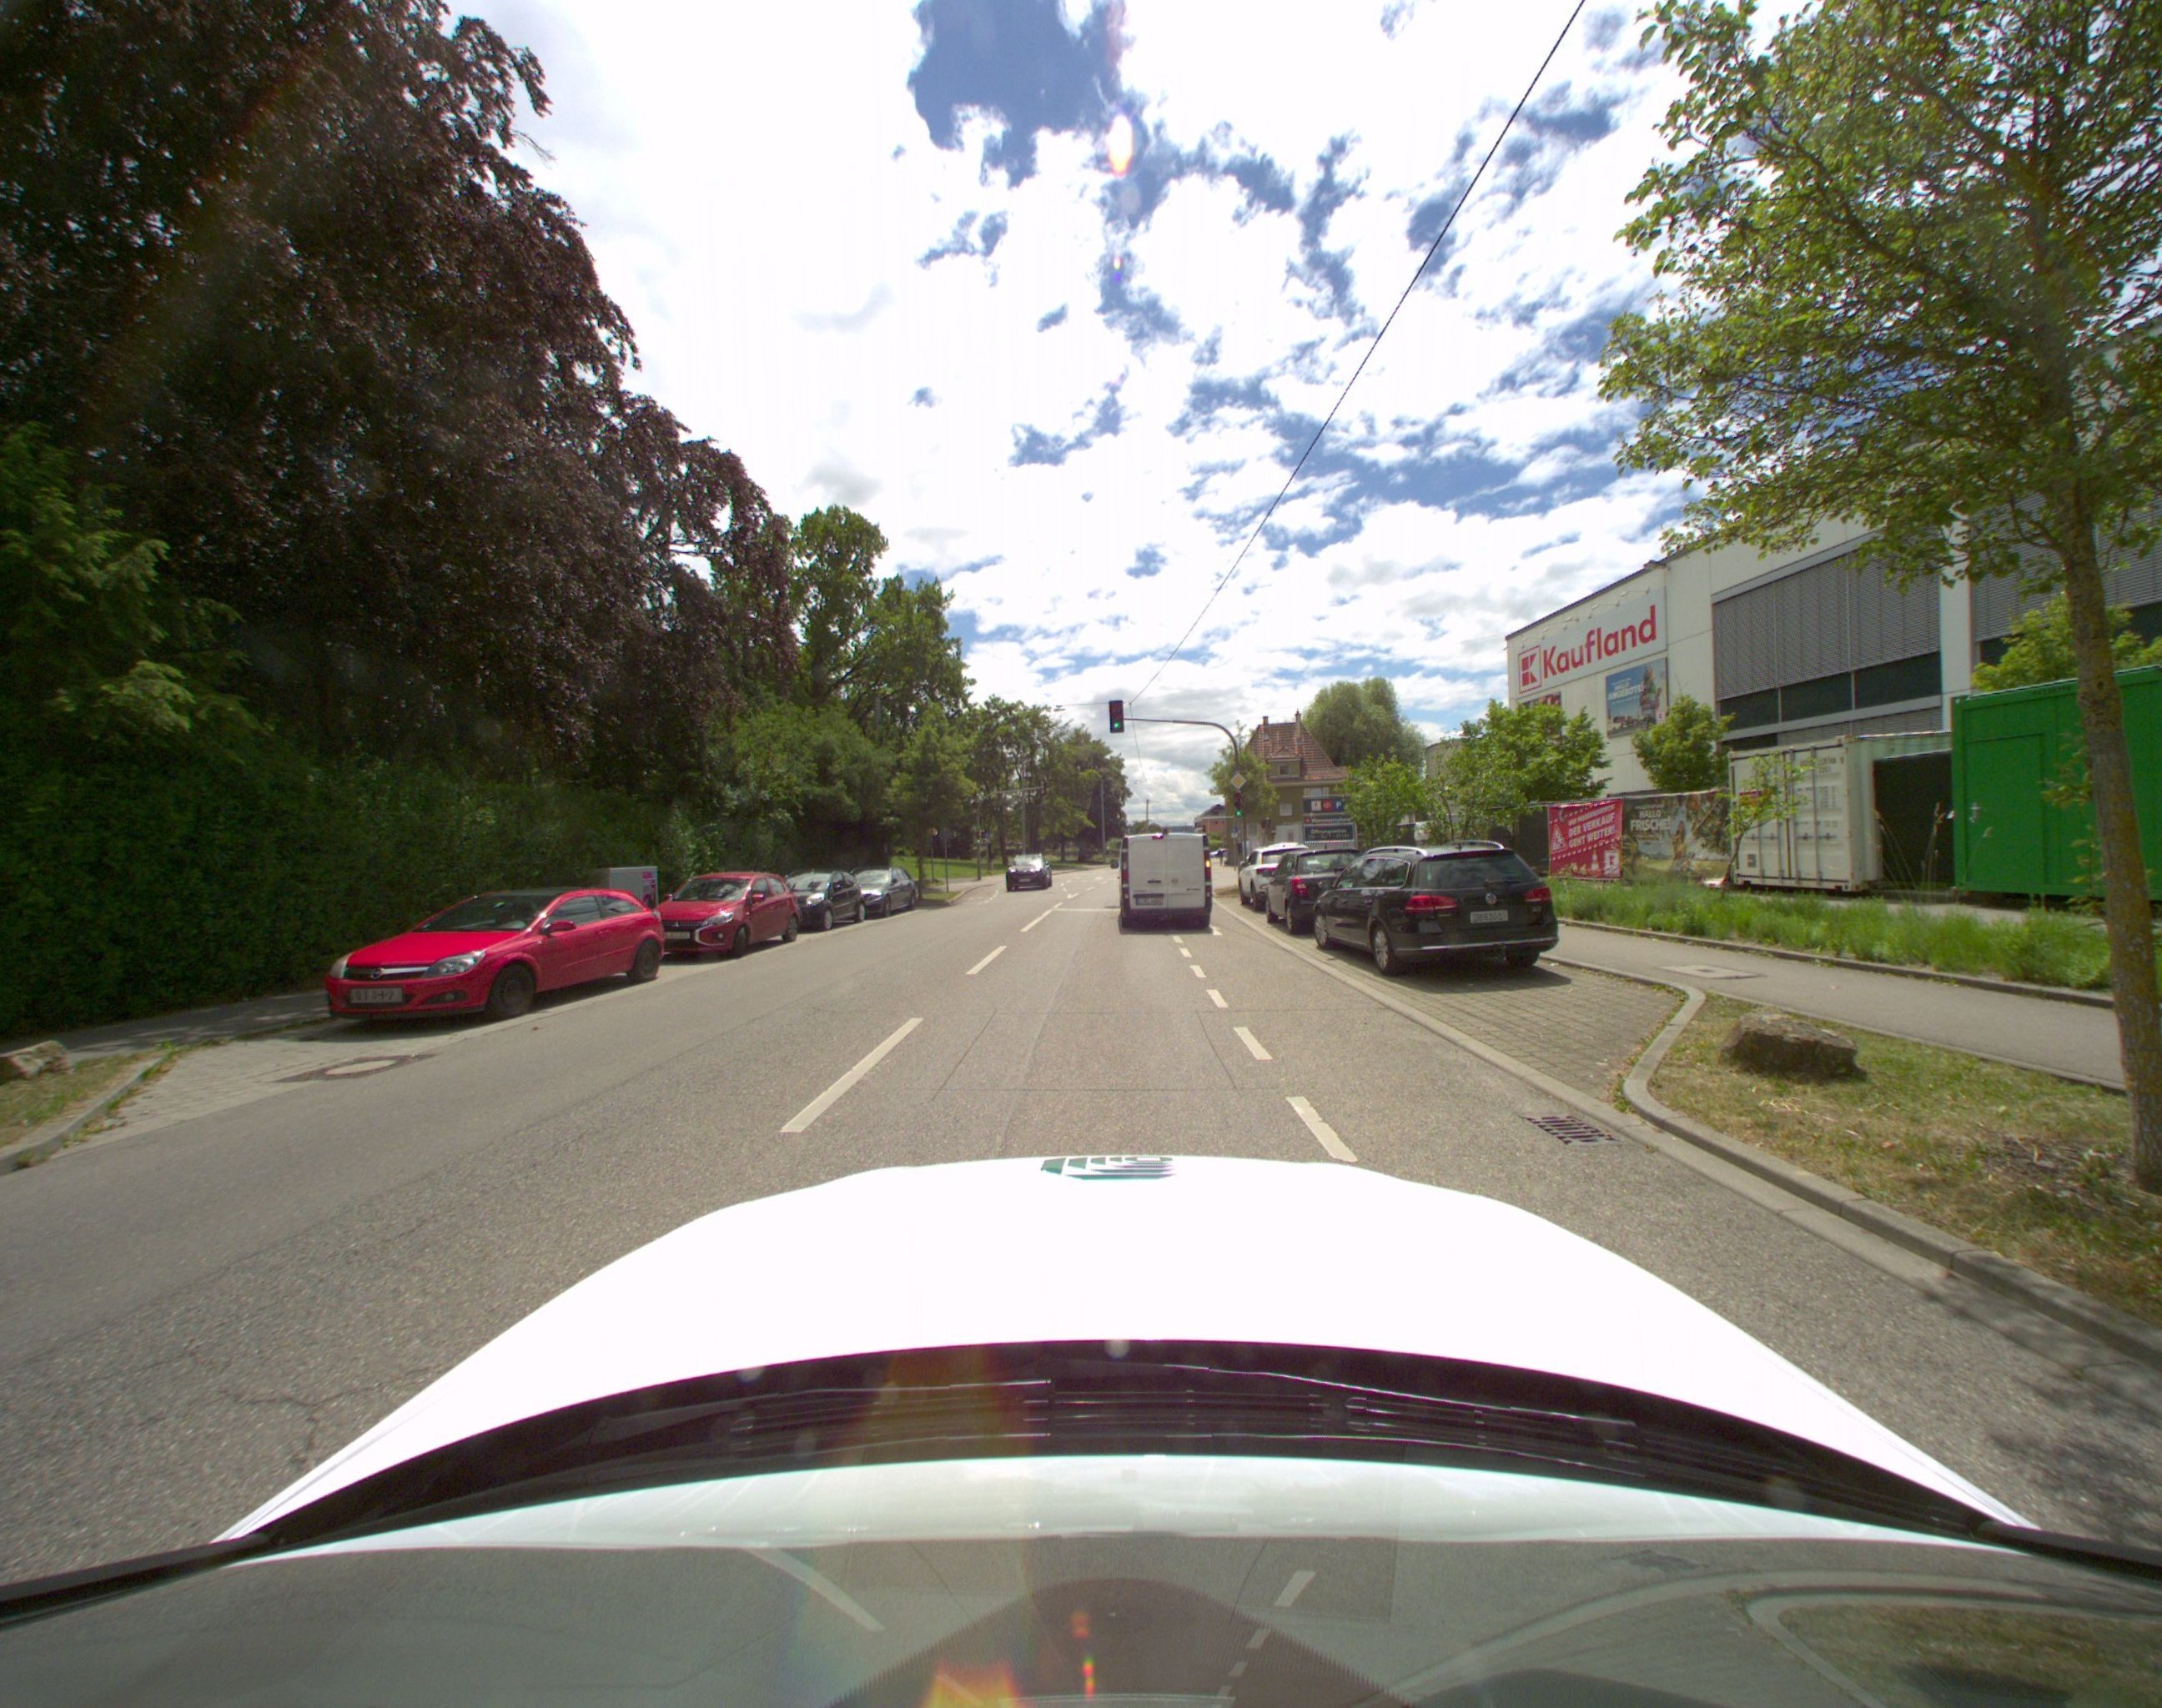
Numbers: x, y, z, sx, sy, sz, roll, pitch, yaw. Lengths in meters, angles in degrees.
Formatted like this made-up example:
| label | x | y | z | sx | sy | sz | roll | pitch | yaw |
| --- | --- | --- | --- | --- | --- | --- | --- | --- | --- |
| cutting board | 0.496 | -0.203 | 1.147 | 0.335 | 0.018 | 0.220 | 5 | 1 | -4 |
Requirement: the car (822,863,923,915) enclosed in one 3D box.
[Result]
| label | x | y | z | sx | sy | sz | roll | pitch | yaw |
| --- | --- | --- | --- | --- | --- | --- | --- | --- | --- |
| car | -6.211 | 0.996 | 24.834 | 1.688 | 1.365 | 4.689 | -1 | 0 | 3 |

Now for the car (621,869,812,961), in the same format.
| label | x | y | z | sx | sy | sz | roll | pitch | yaw |
| --- | --- | --- | --- | --- | --- | --- | --- | --- | --- |
| car | -6.774 | 1.056 | 15.666 | 1.643 | 1.450 | 4.107 | -1 | 0 | 2 |

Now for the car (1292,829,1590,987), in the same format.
| label | x | y | z | sx | sy | sz | roll | pitch | yaw |
| --- | --- | --- | --- | --- | --- | --- | --- | --- | --- |
| car | 4.352 | 0.563 | 10.867 | 1.758 | 1.477 | 4.936 | -5 | 0 | 1 |

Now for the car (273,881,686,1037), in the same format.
| label | x | y | z | sx | sy | sz | roll | pitch | yaw |
| --- | --- | --- | --- | --- | --- | --- | --- | --- | --- |
| car | -7.085 | 1.117 | 10.364 | 1.653 | 1.378 | 4.570 | -1 | 0 | 3 |

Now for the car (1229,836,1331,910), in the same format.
| label | x | y | z | sx | sy | sz | roll | pitch | yaw |
| --- | --- | --- | --- | --- | --- | --- | --- | --- | --- |
| car | 5.122 | 0.467 | 21.503 | 1.730 | 1.616 | 4.390 | -5 | 0 | 3 |

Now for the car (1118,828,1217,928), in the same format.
| label | x | y | z | sx | sy | sz | roll | pitch | yaw |
| --- | --- | --- | --- | --- | --- | --- | --- | --- | --- |
| car | 1.822 | 0.473 | 18.491 | 1.931 | 1.960 | 4.836 | 0 | 0 | 3 |

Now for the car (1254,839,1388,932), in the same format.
| label | x | y | z | sx | sy | sz | roll | pitch | yaw |
| --- | --- | --- | --- | --- | --- | --- | --- | --- | --- |
| car | 4.518 | 0.546 | 15.895 | 1.561 | 1.493 | 4.004 | -3 | 0 | 3 |

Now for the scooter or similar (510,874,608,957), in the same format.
| label | x | y | z | sx | sy | sz | roll | pitch | yaw |
| --- | --- | --- | --- | --- | --- | --- | --- | --- | --- |
| scooter or similar | -9.836 | 1.124 | 15.414 | 0.667 | 1.412 | 1.651 | -1 | 0 | 4 |

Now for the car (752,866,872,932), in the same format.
| label | x | y | z | sx | sy | sz | roll | pitch | yaw |
| --- | --- | --- | --- | --- | --- | --- | --- | --- | --- |
| car | -6.652 | 1.065 | 20.539 | 1.588 | 1.450 | 3.600 | -1 | 0 | 4 |

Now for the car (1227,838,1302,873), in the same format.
| label | x | y | z | sx | sy | sz | roll | pitch | yaw |
| --- | --- | --- | --- | --- | --- | --- | --- | --- | --- |
| car | 10.398 | 0.090 | 46.331 | 3.965 | 1.606 | 1.612 | -5 | 0 | 8 |

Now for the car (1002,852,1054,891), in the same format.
| label | x | y | z | sx | sy | sz | roll | pitch | yaw |
| --- | --- | --- | --- | --- | --- | --- | --- | --- | --- |
| car | -2.430 | 0.767 | 38.195 | 1.825 | 1.616 | 4.156 | -4 | 0 | 3 |

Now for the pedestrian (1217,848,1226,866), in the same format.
| label | x | y | z | sx | sy | sz | roll | pitch | yaw |
| --- | --- | --- | --- | --- | --- | --- | --- | --- | --- |
| pedestrian | 12.305 | 0.277 | 71.539 | 0.674 | 1.553 | 0.837 | -4 | -2 | 9 |
